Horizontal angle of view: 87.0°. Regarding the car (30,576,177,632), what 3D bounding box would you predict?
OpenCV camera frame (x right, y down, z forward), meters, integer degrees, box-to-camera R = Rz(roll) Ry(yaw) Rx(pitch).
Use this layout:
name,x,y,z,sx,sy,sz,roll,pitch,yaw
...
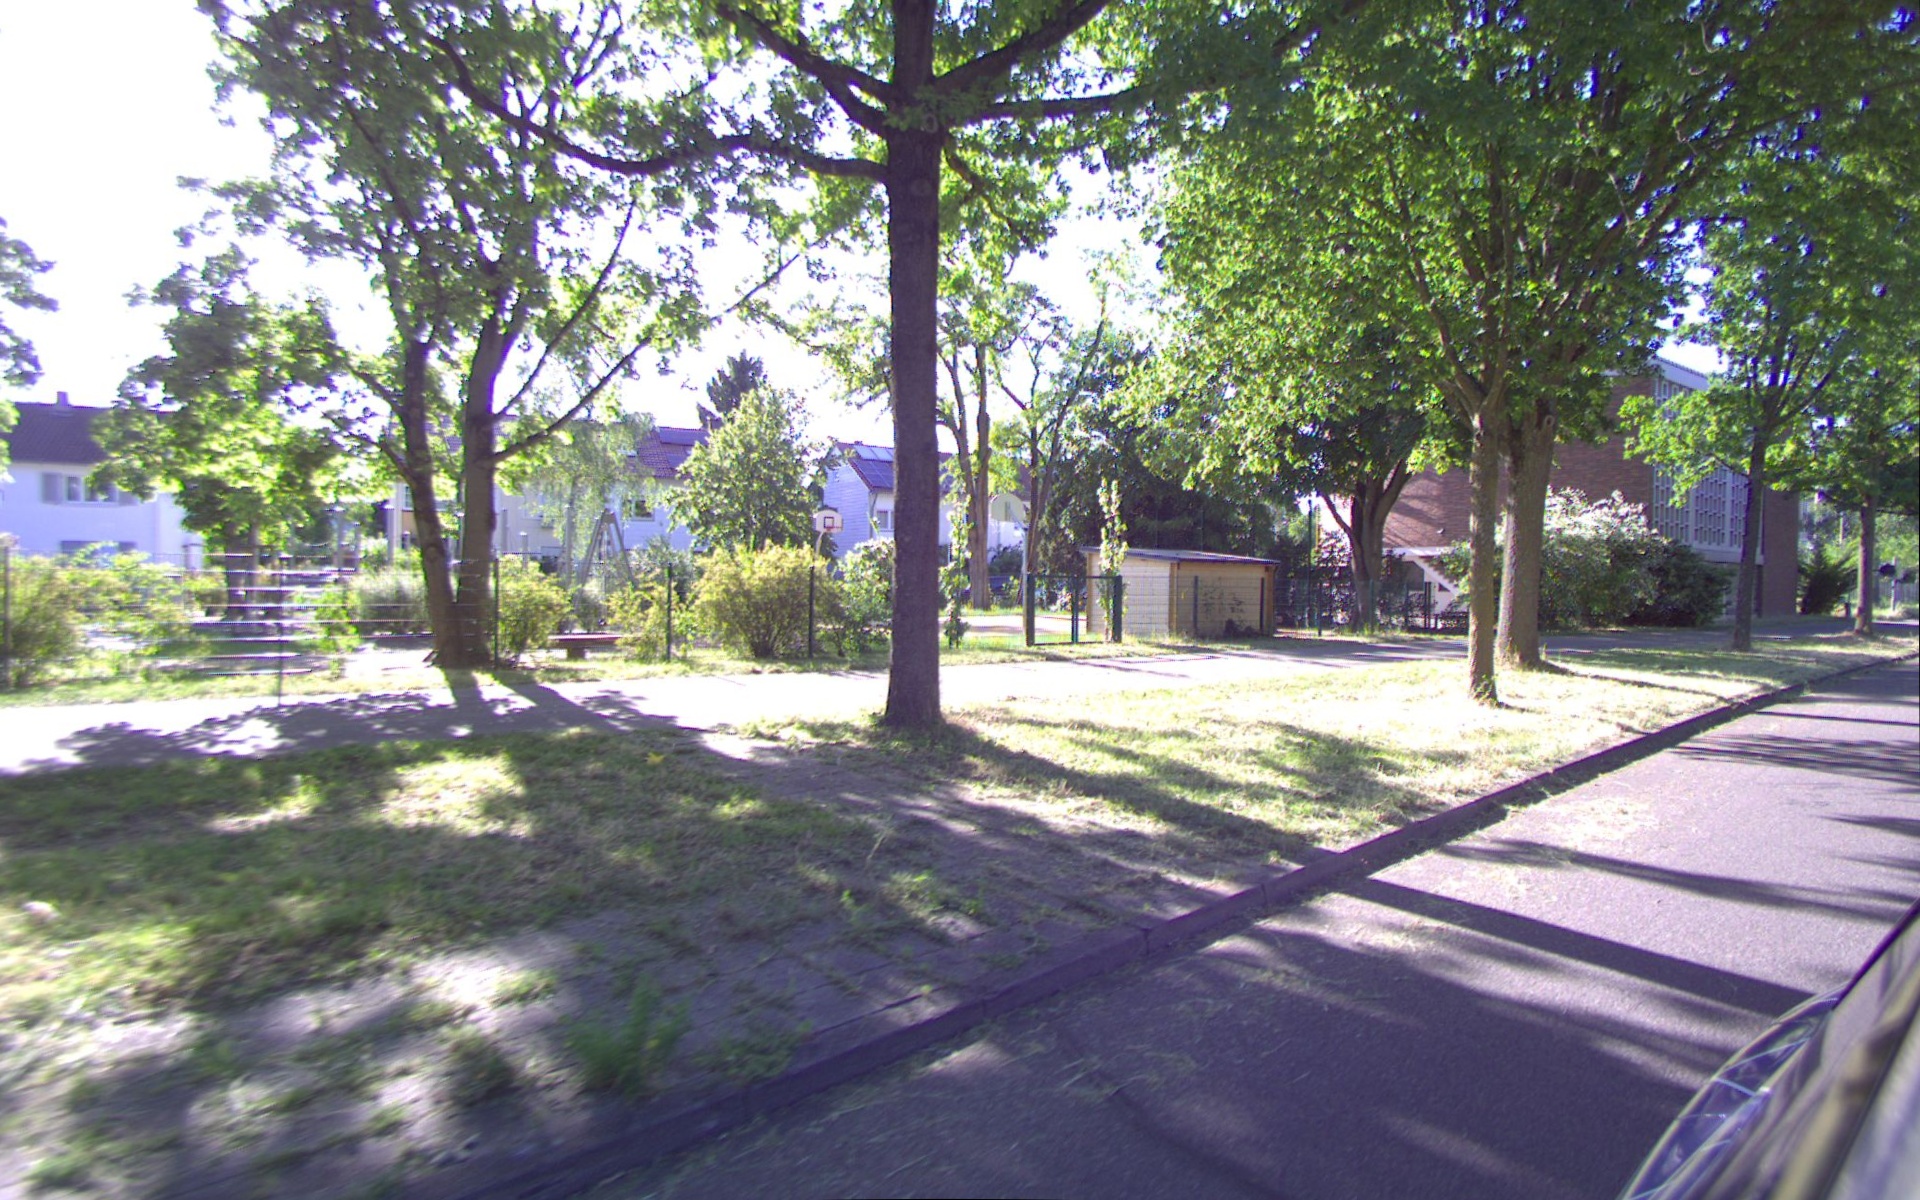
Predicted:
name,x,y,z,sx,sy,sz,roll,pitch,yaw
car,-31.465,0.114,37.356,3.924,1.972,2.000,-1,1,-34
